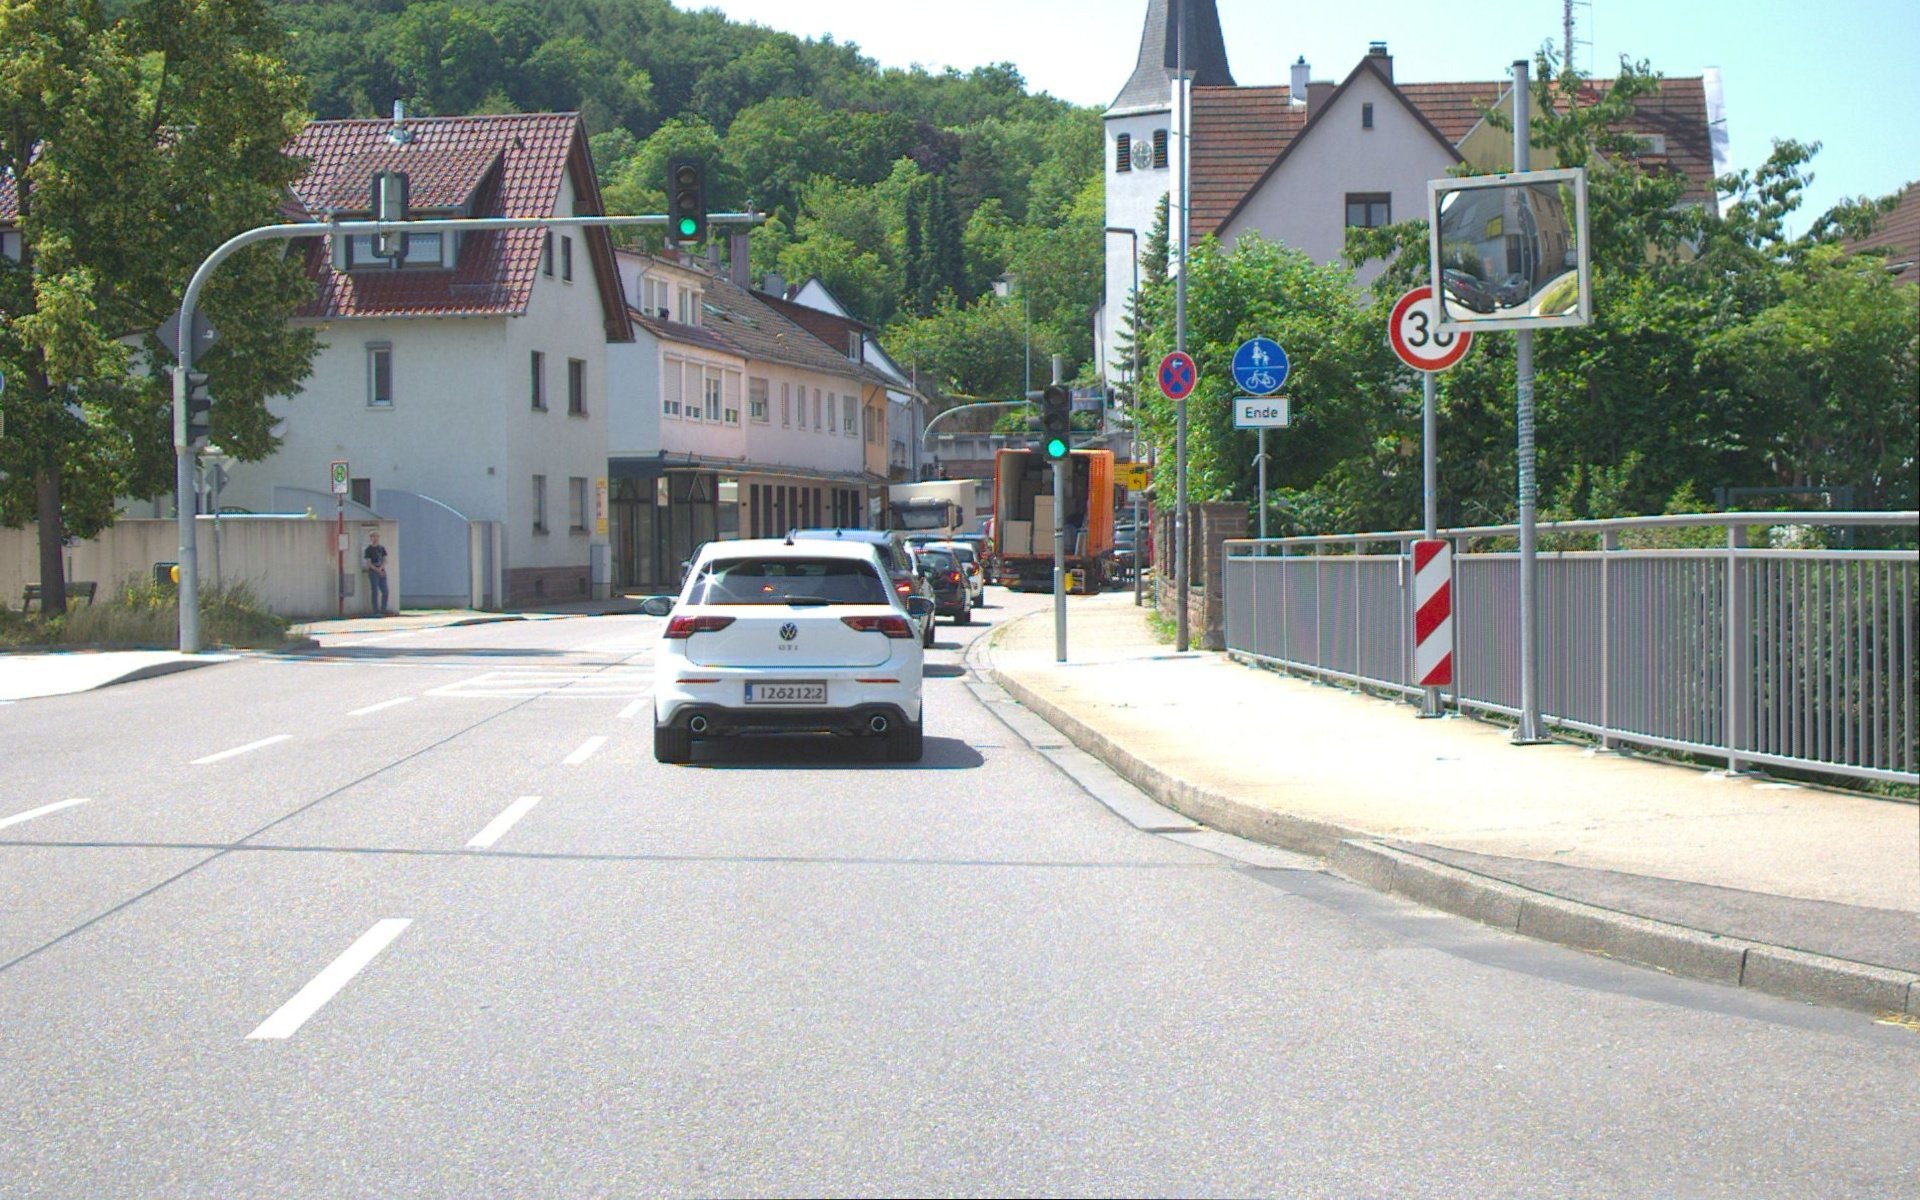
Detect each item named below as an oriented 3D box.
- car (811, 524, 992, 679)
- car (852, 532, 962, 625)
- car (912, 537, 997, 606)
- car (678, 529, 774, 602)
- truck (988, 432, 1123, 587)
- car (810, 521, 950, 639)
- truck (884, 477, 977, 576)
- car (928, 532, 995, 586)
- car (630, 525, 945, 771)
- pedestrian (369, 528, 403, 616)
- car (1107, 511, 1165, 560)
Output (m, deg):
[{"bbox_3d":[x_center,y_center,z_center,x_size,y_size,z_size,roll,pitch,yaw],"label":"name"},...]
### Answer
[{"bbox_3d":[-0.606,0.003,38.853,1.815,1.623,4.000,-1,0,2],"label":"car"},{"bbox_3d":[-0.958,-0.399,63.976,1.815,1.623,4.000,-1,0,2],"label":"car"},{"bbox_3d":[-0.106,-0.652,79.711,1.815,1.514,4.000,-1,0,2],"label":"car"},{"bbox_3d":[-5.410,-0.794,79.825,1.815,1.644,4.000,1,0,2],"label":"car"},{"bbox_3d":[2.830,-2.523,98.823,3.367,4.156,9.518,-1,0,4],"label":"truck"},{"bbox_3d":[-1.142,-0.296,50.678,1.815,1.623,4.000,-1,0,2],"label":"car"},{"bbox_3d":[-0.961,-2.465,116.796,2.502,3.224,6.039,-1,0,5],"label":"truck"},{"bbox_3d":[0.071,-1.194,101.154,1.815,1.514,4.000,-1,0,2],"label":"car"},{"bbox_3d":[-1.089,0.280,23.490,1.815,1.514,4.000,1,0,2],"label":"car"},{"bbox_3d":[-11.586,-0.562,69.397,0.434,1.758,0.556,0,1,21],"label":"pedestrian"},{"bbox_3d":[5.813,-2.128,113.920,1.815,1.514,4.000,-1,0,2],"label":"car"}]
